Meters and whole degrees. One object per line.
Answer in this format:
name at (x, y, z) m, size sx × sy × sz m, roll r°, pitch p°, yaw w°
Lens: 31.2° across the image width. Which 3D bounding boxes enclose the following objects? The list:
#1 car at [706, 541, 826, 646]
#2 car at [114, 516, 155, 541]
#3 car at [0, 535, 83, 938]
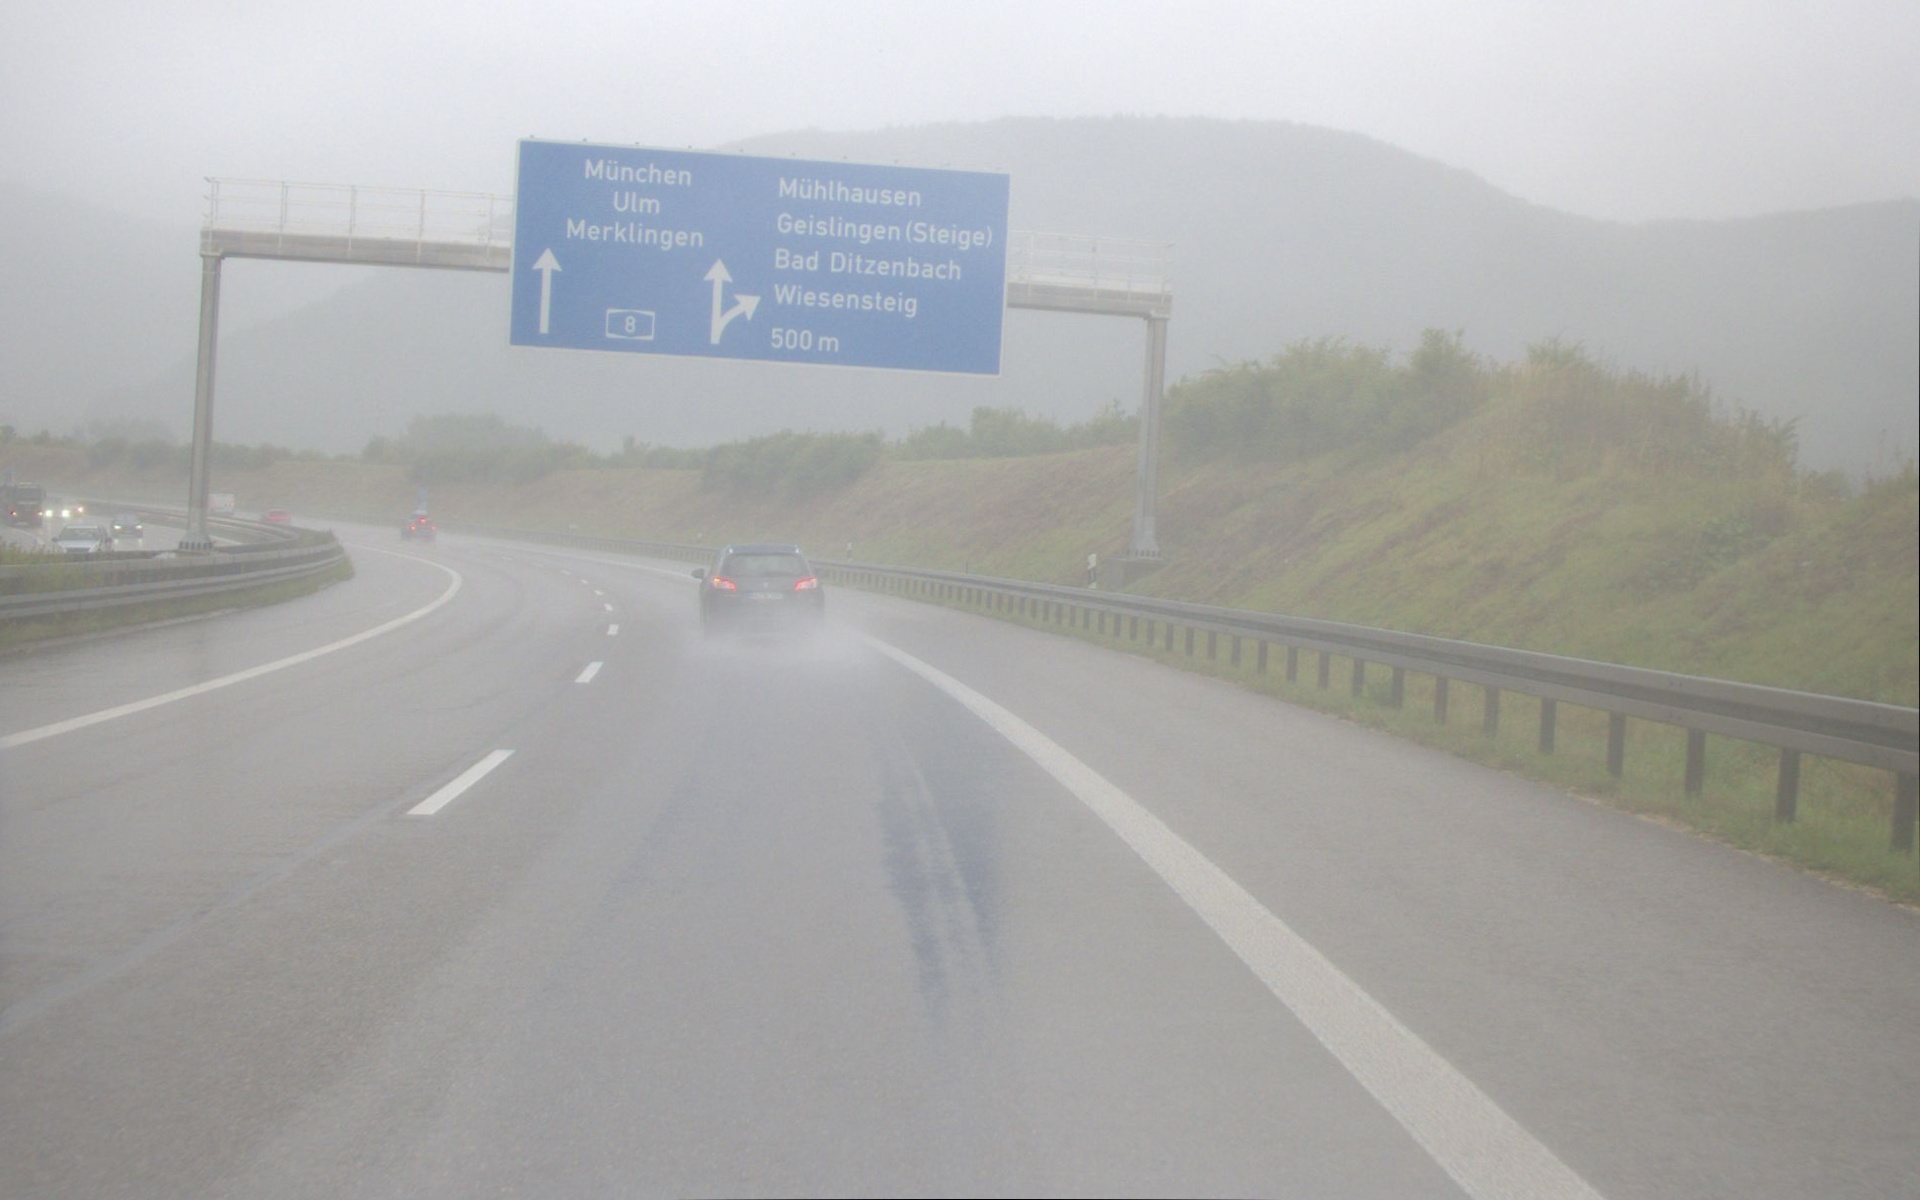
car at (-2.915, -0.122, 51.394) m, size 1.679 × 1.467 × 3.815 m, roll 2°, pitch 1°, yaw -4°
car at (-53.458, -4.620, 222.601) m, size 1.993 × 1.514 × 4.001 m, roll 2°, pitch 0°, yaw -6°
car at (-4.721, 0.496, 12.071) m, size 2.405 × 1.510 × 4.785 m, roll 2°, pitch 1°, yaw -5°
